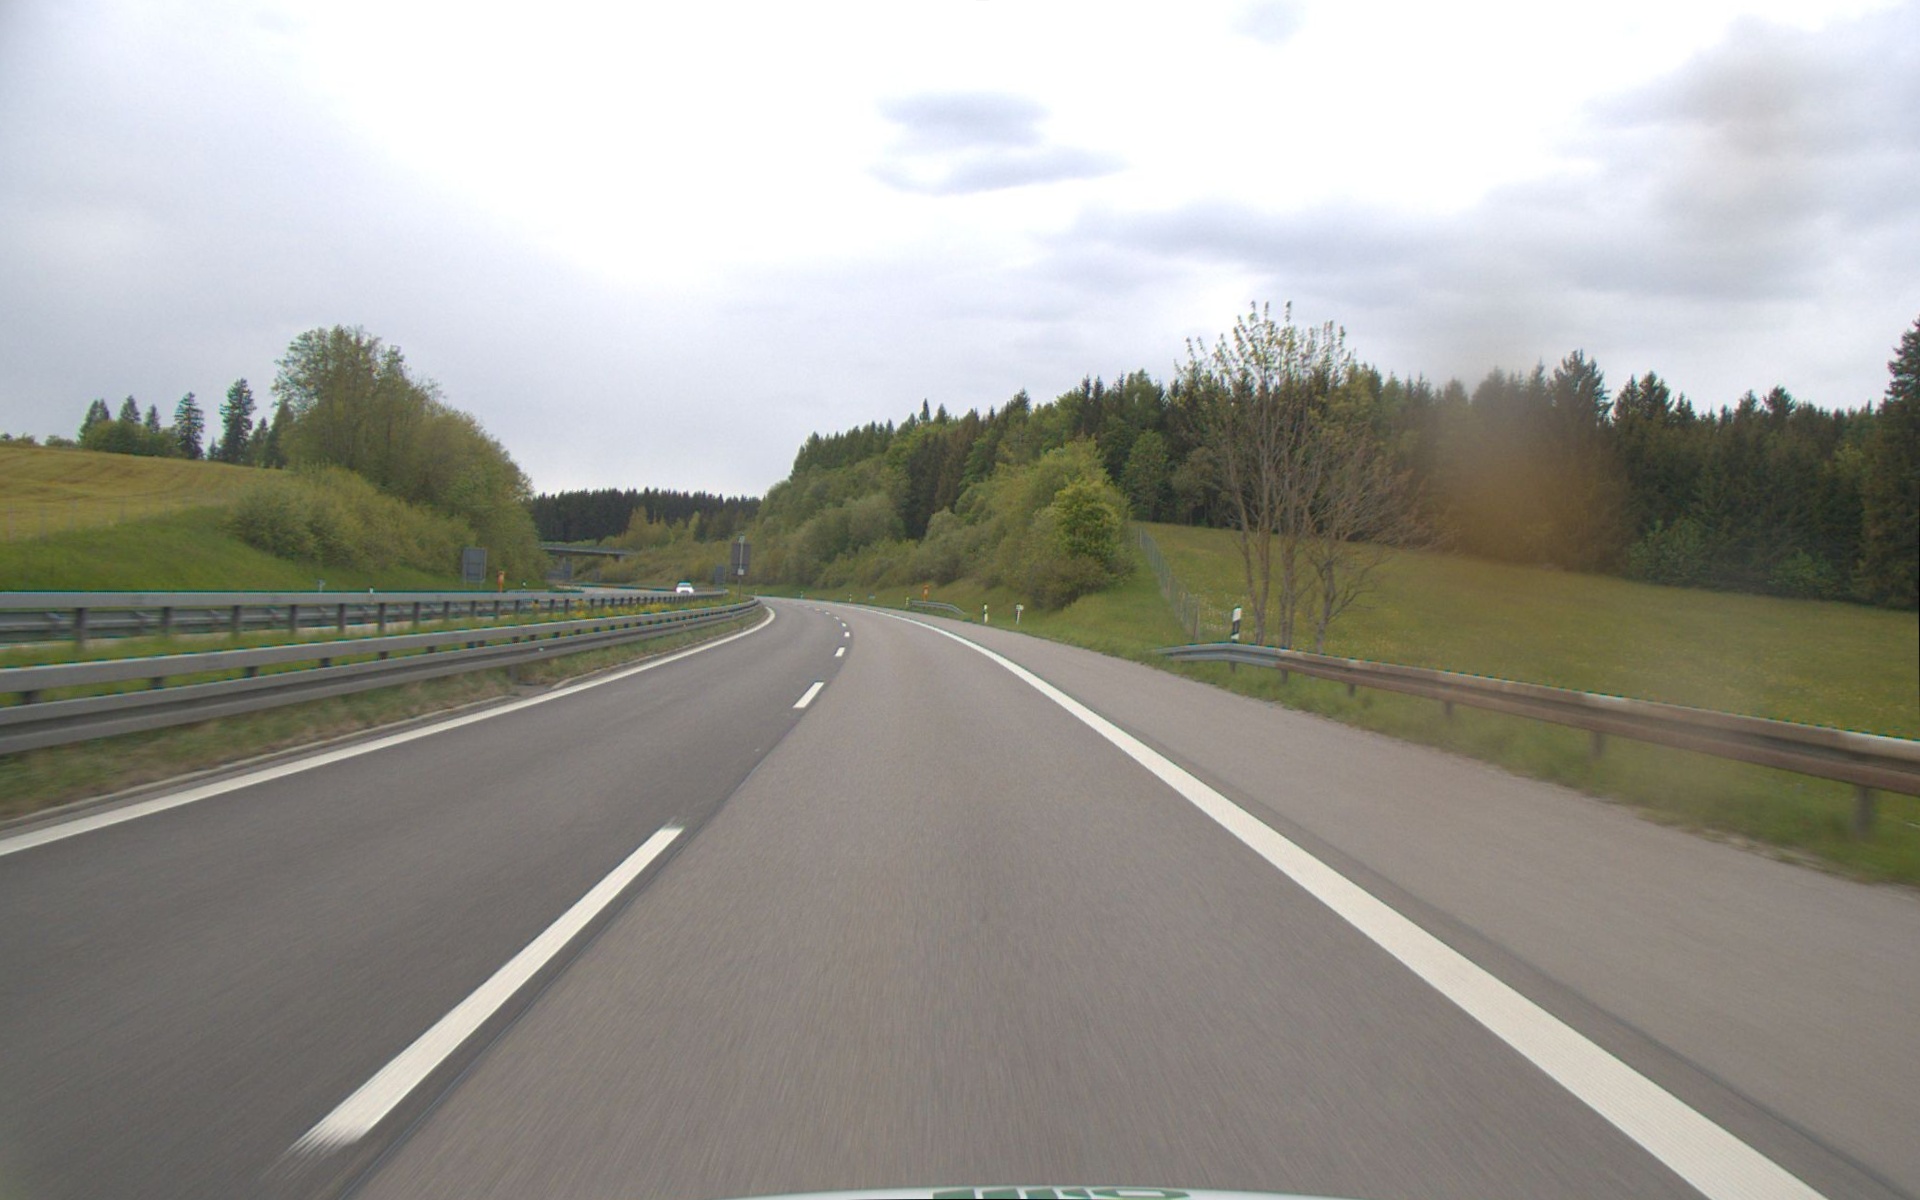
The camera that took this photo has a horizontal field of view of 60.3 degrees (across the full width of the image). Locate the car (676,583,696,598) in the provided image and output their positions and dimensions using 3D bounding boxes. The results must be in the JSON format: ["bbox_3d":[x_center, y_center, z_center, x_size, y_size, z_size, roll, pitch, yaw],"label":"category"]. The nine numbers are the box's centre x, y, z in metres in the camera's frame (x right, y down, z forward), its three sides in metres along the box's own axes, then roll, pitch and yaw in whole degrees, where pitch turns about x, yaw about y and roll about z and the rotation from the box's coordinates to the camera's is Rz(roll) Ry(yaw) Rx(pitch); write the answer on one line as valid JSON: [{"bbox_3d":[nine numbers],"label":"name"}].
[{"bbox_3d":[-29.207,-1.026,176.417,1.957,1.453,4.454,4,1,-9],"label":"car"}]
